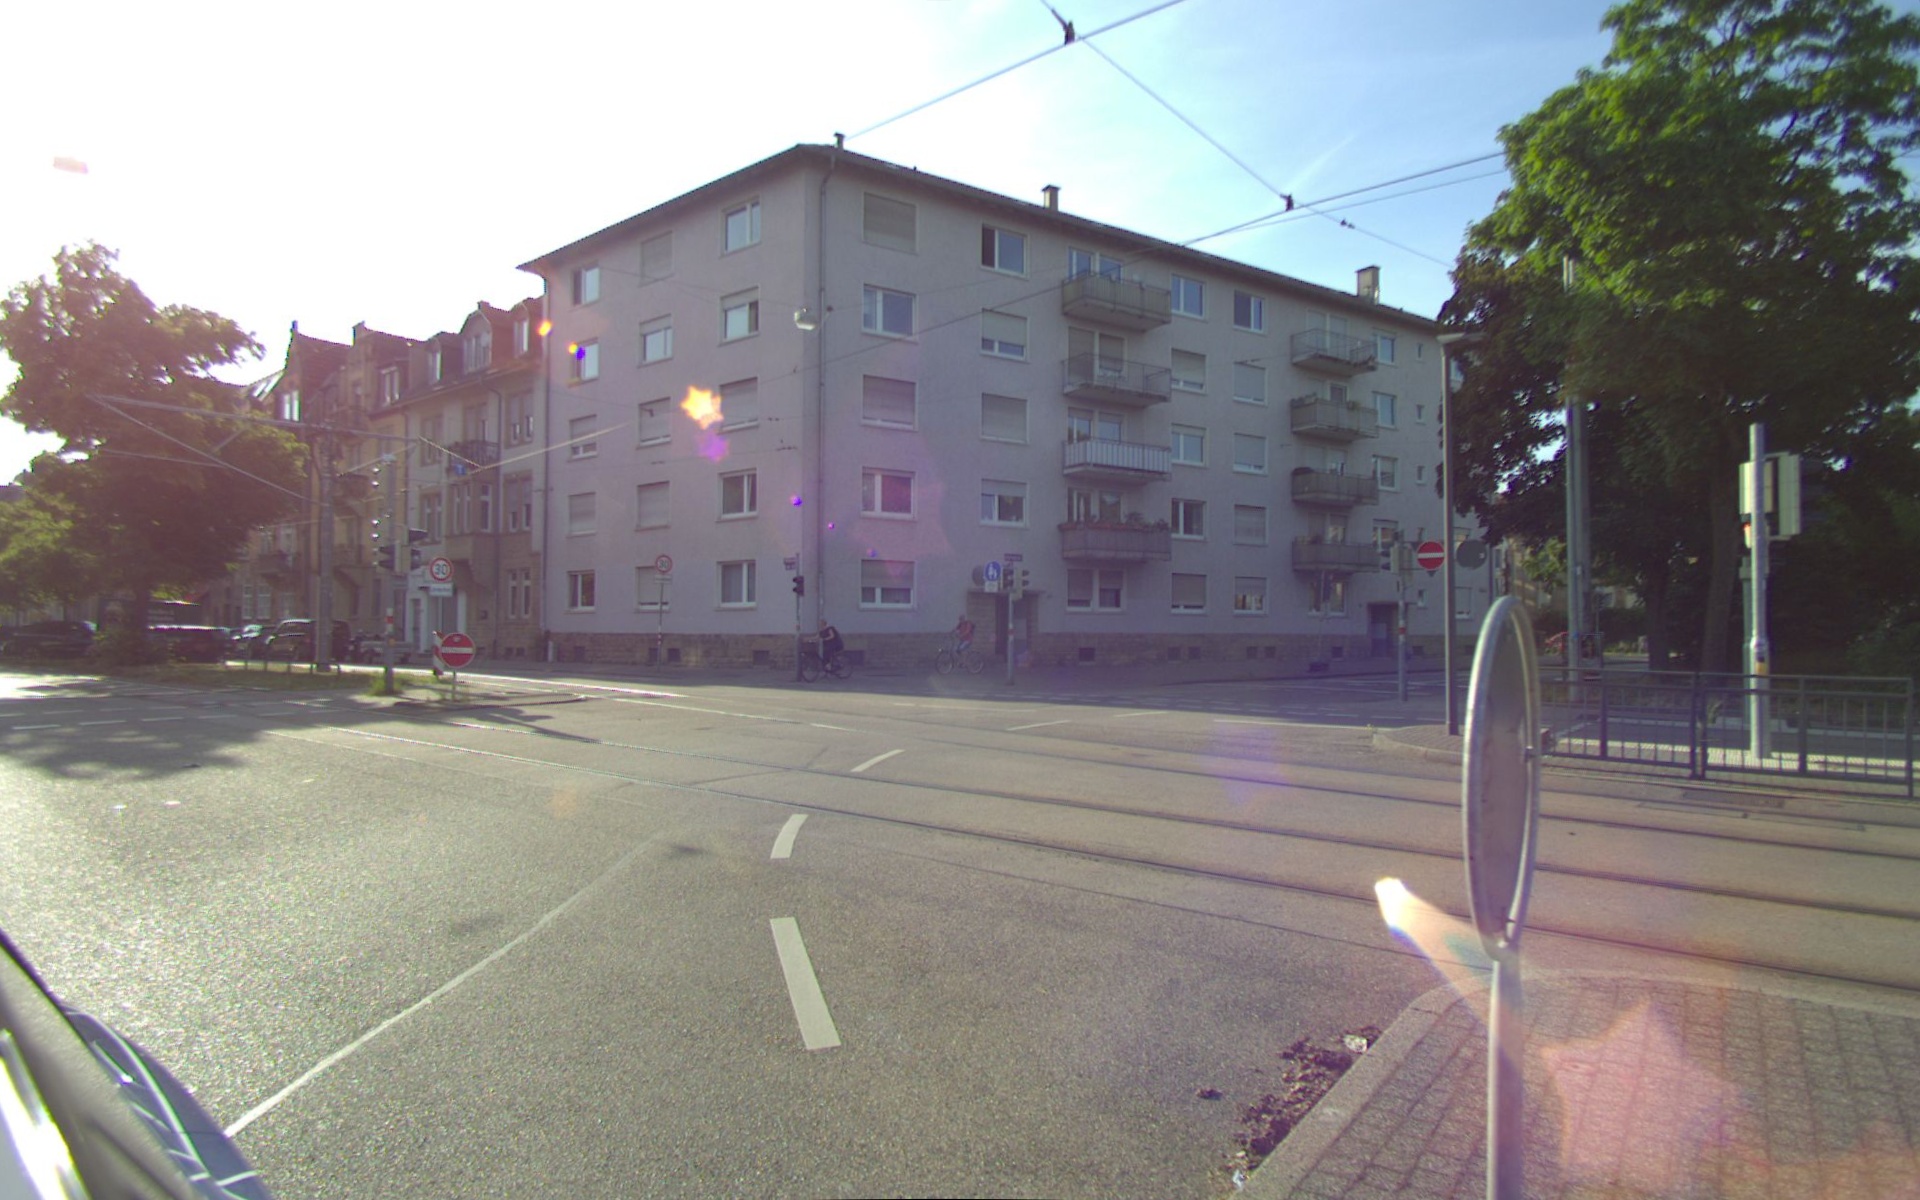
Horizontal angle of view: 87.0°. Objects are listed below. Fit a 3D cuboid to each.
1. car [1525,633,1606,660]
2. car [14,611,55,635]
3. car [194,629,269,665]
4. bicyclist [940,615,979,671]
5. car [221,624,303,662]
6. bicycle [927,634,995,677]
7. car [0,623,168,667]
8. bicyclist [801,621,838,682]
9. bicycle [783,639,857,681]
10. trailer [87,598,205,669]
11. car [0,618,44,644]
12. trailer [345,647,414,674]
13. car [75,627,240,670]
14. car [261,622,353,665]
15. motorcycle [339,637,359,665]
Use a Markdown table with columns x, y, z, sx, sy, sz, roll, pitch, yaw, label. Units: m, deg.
| x | y | z | sx | sy | sz | roll | pitch | yaw | label |
| --- | --- | --- | --- | --- | --- | --- | --- | --- | --- |
| 39.129 | 2.973 | 65.471 | 1.966 | 1.657 | 4.011 | 0 | -2 | -32 | car |
| -79.913 | 1.973 | 87.368 | 3.995 | 2.029 | 1.974 | -2 | -2 | 39 | car |
| -37.762 | 2.418 | 52.399 | 4.607 | 1.763 | 2.143 | -2 | -2 | 41 | car |
| -0.013 | 1.298 | 30.649 | 0.839 | 1.655 | 0.816 | 0 | -2 | -32 | bicyclist |
| -33.830 | 2.058 | 49.012 | 4.607 | 1.763 | 2.143 | -2 | -2 | 41 | car |
| 0.034 | 1.664 | 30.712 | 1.947 | 1.212 | 0.737 | 0 | -2 | -31 | bicycle |
| -34.954 | 1.788 | 40.470 | 4.641 | 1.703 | 2.176 | 0 | -2 | -10 | car |
| -3.894 | 1.407 | 28.054 | 0.760 | 1.655 | 0.797 | 1 | -1 | -32 | bicyclist |
| -3.862 | 1.658 | 28.060 | 1.884 | 1.119 | 0.737 | 2 | -3 | -31 | bicycle |
| -28.601 | 1.152 | 35.662 | 2.816 | 2.410 | 1.728 | 0 | -2 | -20 | trailer |
| -53.698 | 1.741 | 55.811 | 4.202 | 1.433 | 2.177 | -1 | -1 | -10 | car |
| -23.536 | 2.441 | 41.014 | 2.876 | 0.903 | 1.427 | -2 | 2 | 39 | trailer |
| -26.299 | 1.588 | 33.300 | 3.886 | 1.370 | 1.677 | 1 | -2 | -15 | car |
| -28.762 | 1.885 | 44.510 | 4.715 | 1.763 | 2.143 | -2 | -2 | 41 | car |
| -25.563 | 2.119 | 42.355 | 0.626 | 1.088 | 1.739 | 0 | -2 | -27 | motorcycle |
